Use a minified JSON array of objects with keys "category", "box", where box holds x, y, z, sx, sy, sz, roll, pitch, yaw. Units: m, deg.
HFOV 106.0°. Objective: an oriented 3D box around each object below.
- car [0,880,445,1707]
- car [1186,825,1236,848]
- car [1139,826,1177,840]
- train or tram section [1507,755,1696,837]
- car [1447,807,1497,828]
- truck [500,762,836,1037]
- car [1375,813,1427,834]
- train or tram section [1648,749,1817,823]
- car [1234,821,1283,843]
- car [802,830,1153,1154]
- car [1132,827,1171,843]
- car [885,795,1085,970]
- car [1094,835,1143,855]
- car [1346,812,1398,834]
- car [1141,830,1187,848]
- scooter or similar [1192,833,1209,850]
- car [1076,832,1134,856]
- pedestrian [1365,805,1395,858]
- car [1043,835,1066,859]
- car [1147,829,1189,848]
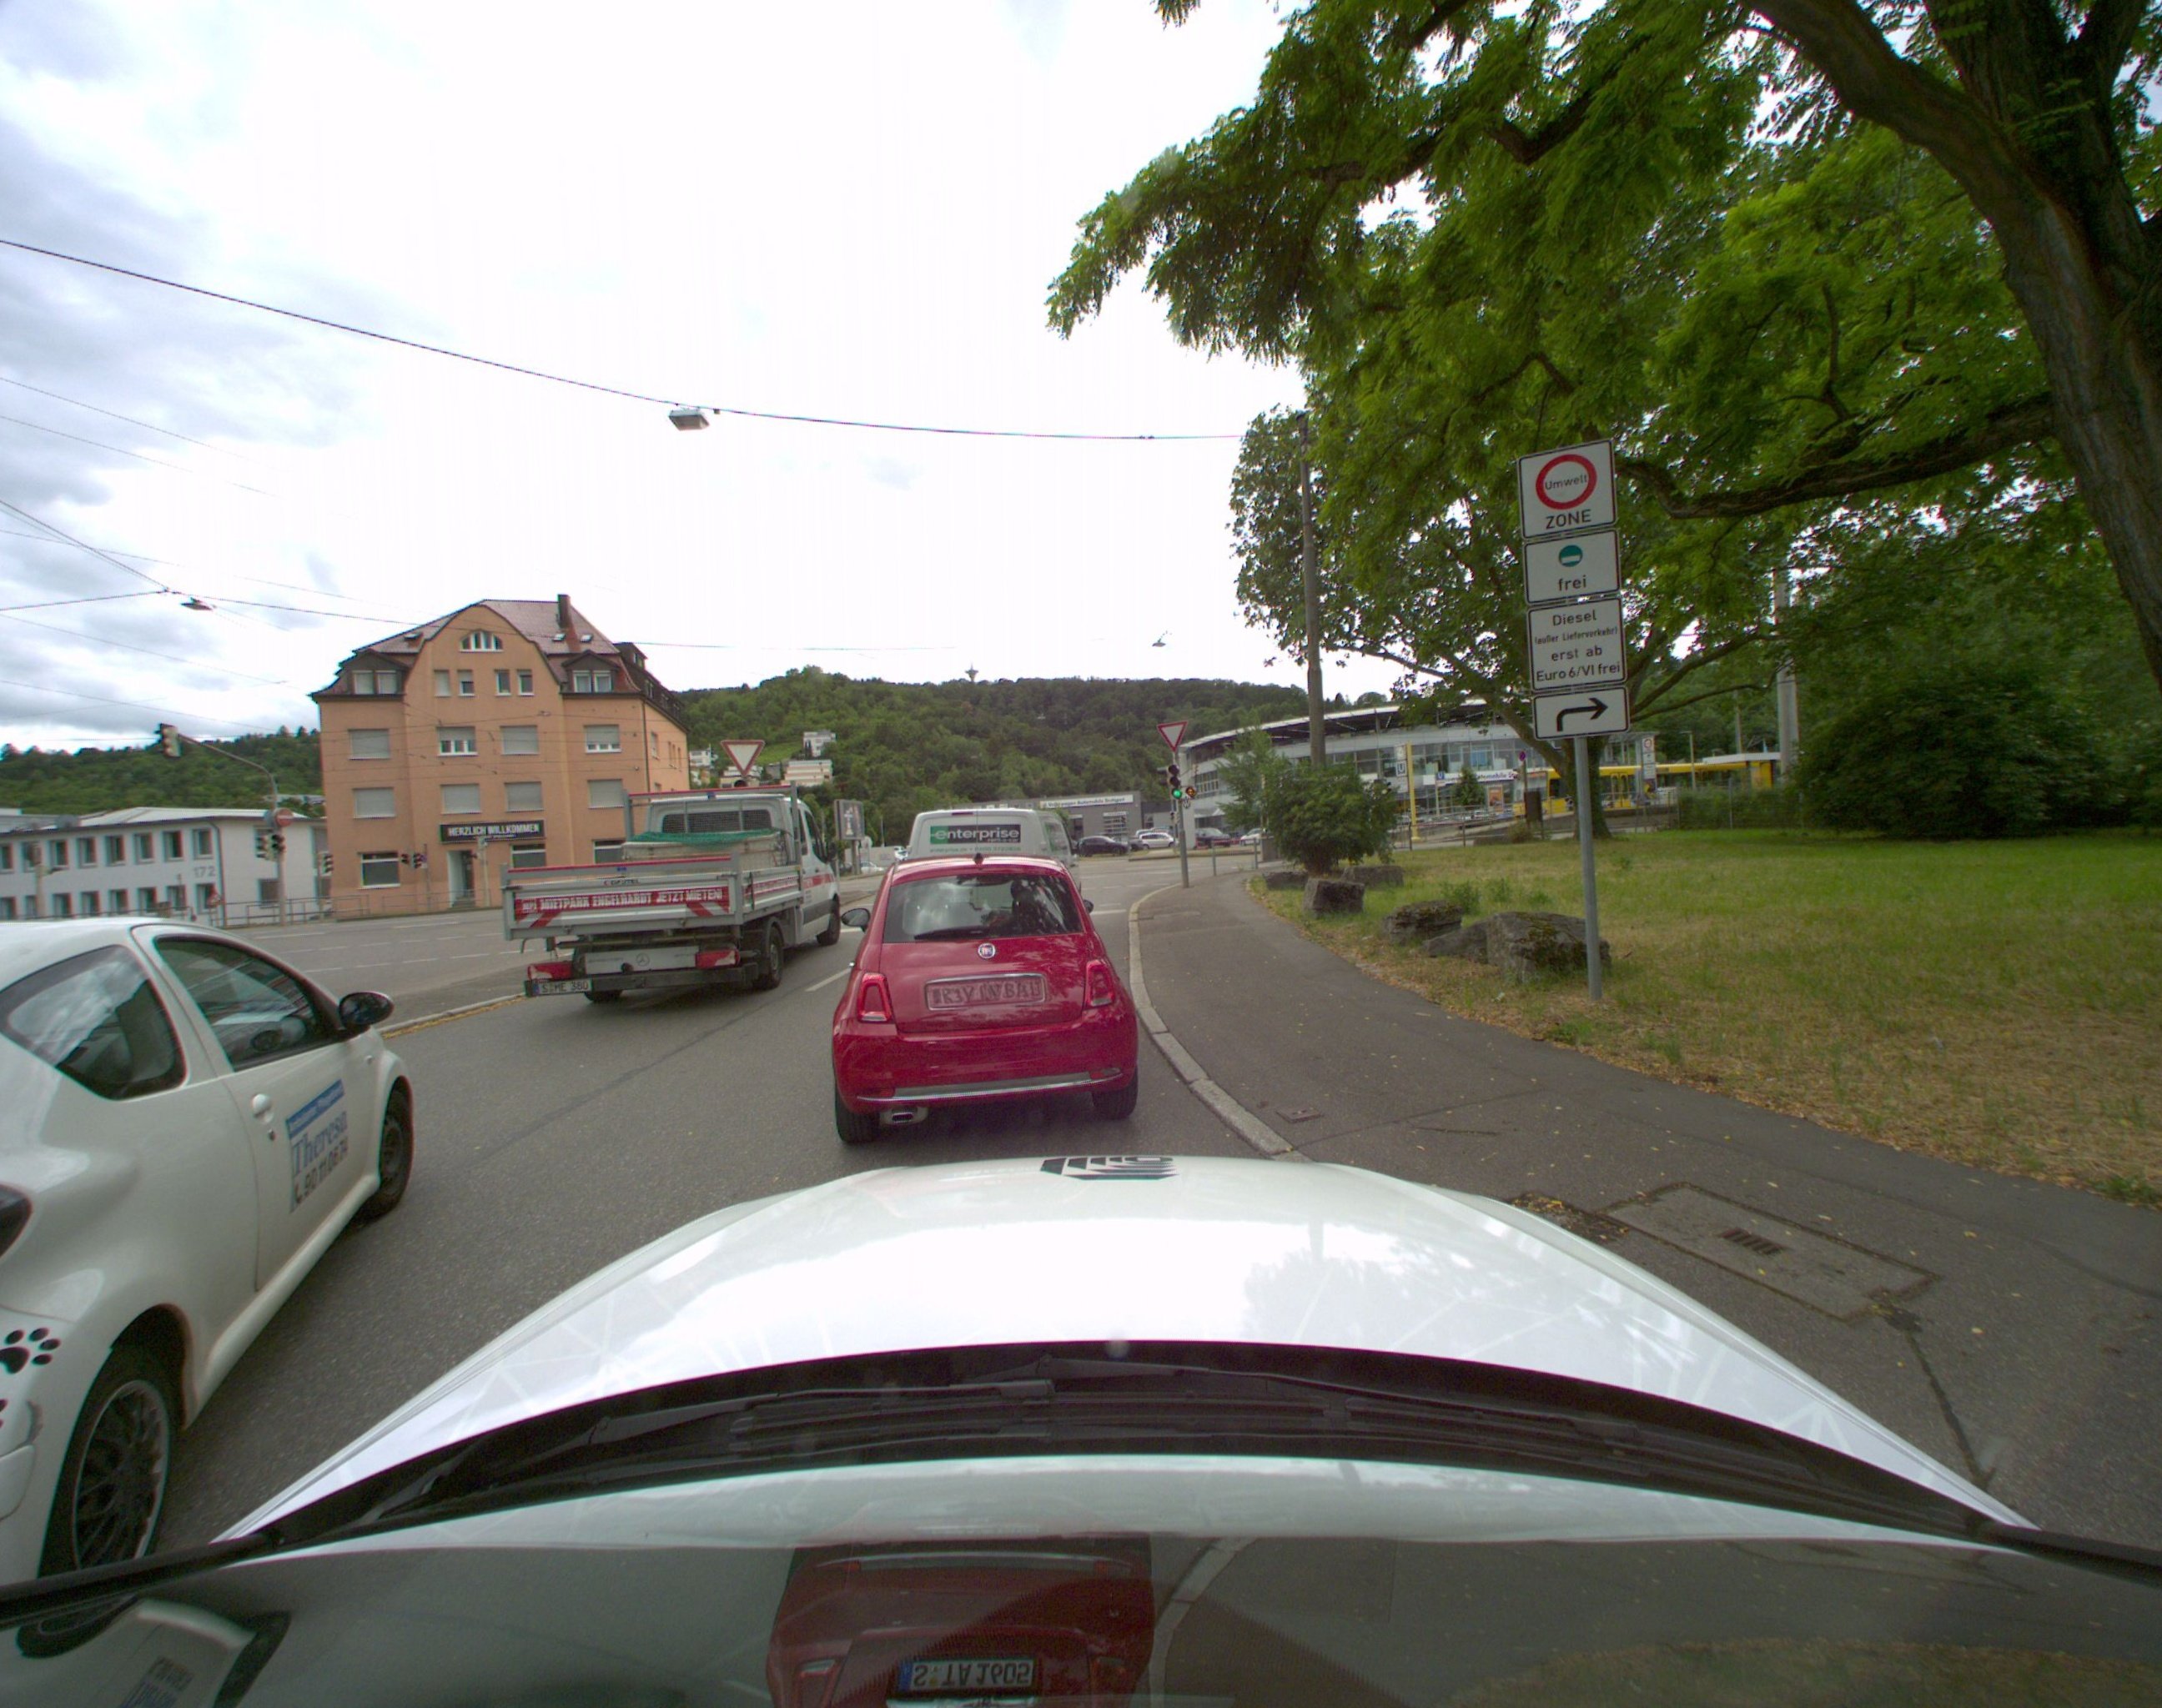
[{"category":"car","box":[-3.263,0.830,2.487,1.603,1.420,3.341,0,-1,-30]},{"category":"car","box":[10.352,-1.410,65.063,2.003,1.640,3.967,-3,1,-25]},{"category":"car","box":[9.503,-2.592,100.628,4.479,1.729,2.000,0,-1,1]},{"category":"train or tram section","box":[30.856,-3.469,48.086,11.919,3.966,2.730,-5,1,-21]},{"category":"car","box":[35.429,-3.273,73.914,1.926,1.554,3.978,-5,1,-16]},{"category":"truck","box":[-4.653,0.327,10.413,2.316,2.421,5.631,-4,2,-12]},{"category":"car","box":[28.085,-2.682,71.506,1.931,1.554,3.967,-5,1,-25]},{"category":"train or tram section","box":[41.974,-4.418,52.366,11.919,3.966,2.730,-5,1,-21]},{"category":"car","box":[14.536,-1.776,66.957,2.003,1.640,3.967,0,-1,-25]},{"category":"car","box":[-0.786,0.618,5.950,1.697,1.525,3.988,0,1,-9]},{"category":"car","box":[8.293,-2.251,96.317,4.479,1.729,2.000,0,-1,1]},{"category":"car","box":[-1.110,0.250,11.916,1.989,2.040,4.838,0,2,4]},{"category":"car","box":[3.221,-0.781,70.269,3.983,1.706,1.995,0,-1,-7]},{"category":"car","box":[25.050,-2.672,70.273,1.931,1.554,3.967,-5,1,-25]},{"category":"car","box":[8.258,-1.461,81.250,4.478,1.729,2.001,0,-1,2]},{"category":"scooter or similar","box":[9.160,-0.971,62.581,1.197,1.288,0.575,0,-1,-3]},{"category":"car","box":[1.848,-0.777,61.612,3.957,1.639,2.009,-1,4,16]},{"category":"pedestrian","box":[9.653,-0.712,26.308,0.672,1.689,0.600,0,-1,-20]},{"category":"car","box":[-2.556,-0.672,79.460,1.988,2.013,5.015,-4,-1,-1]},{"category":"car","box":[9.693,-1.694,90.822,4.479,1.997,2.001,0,-1,1]}]
